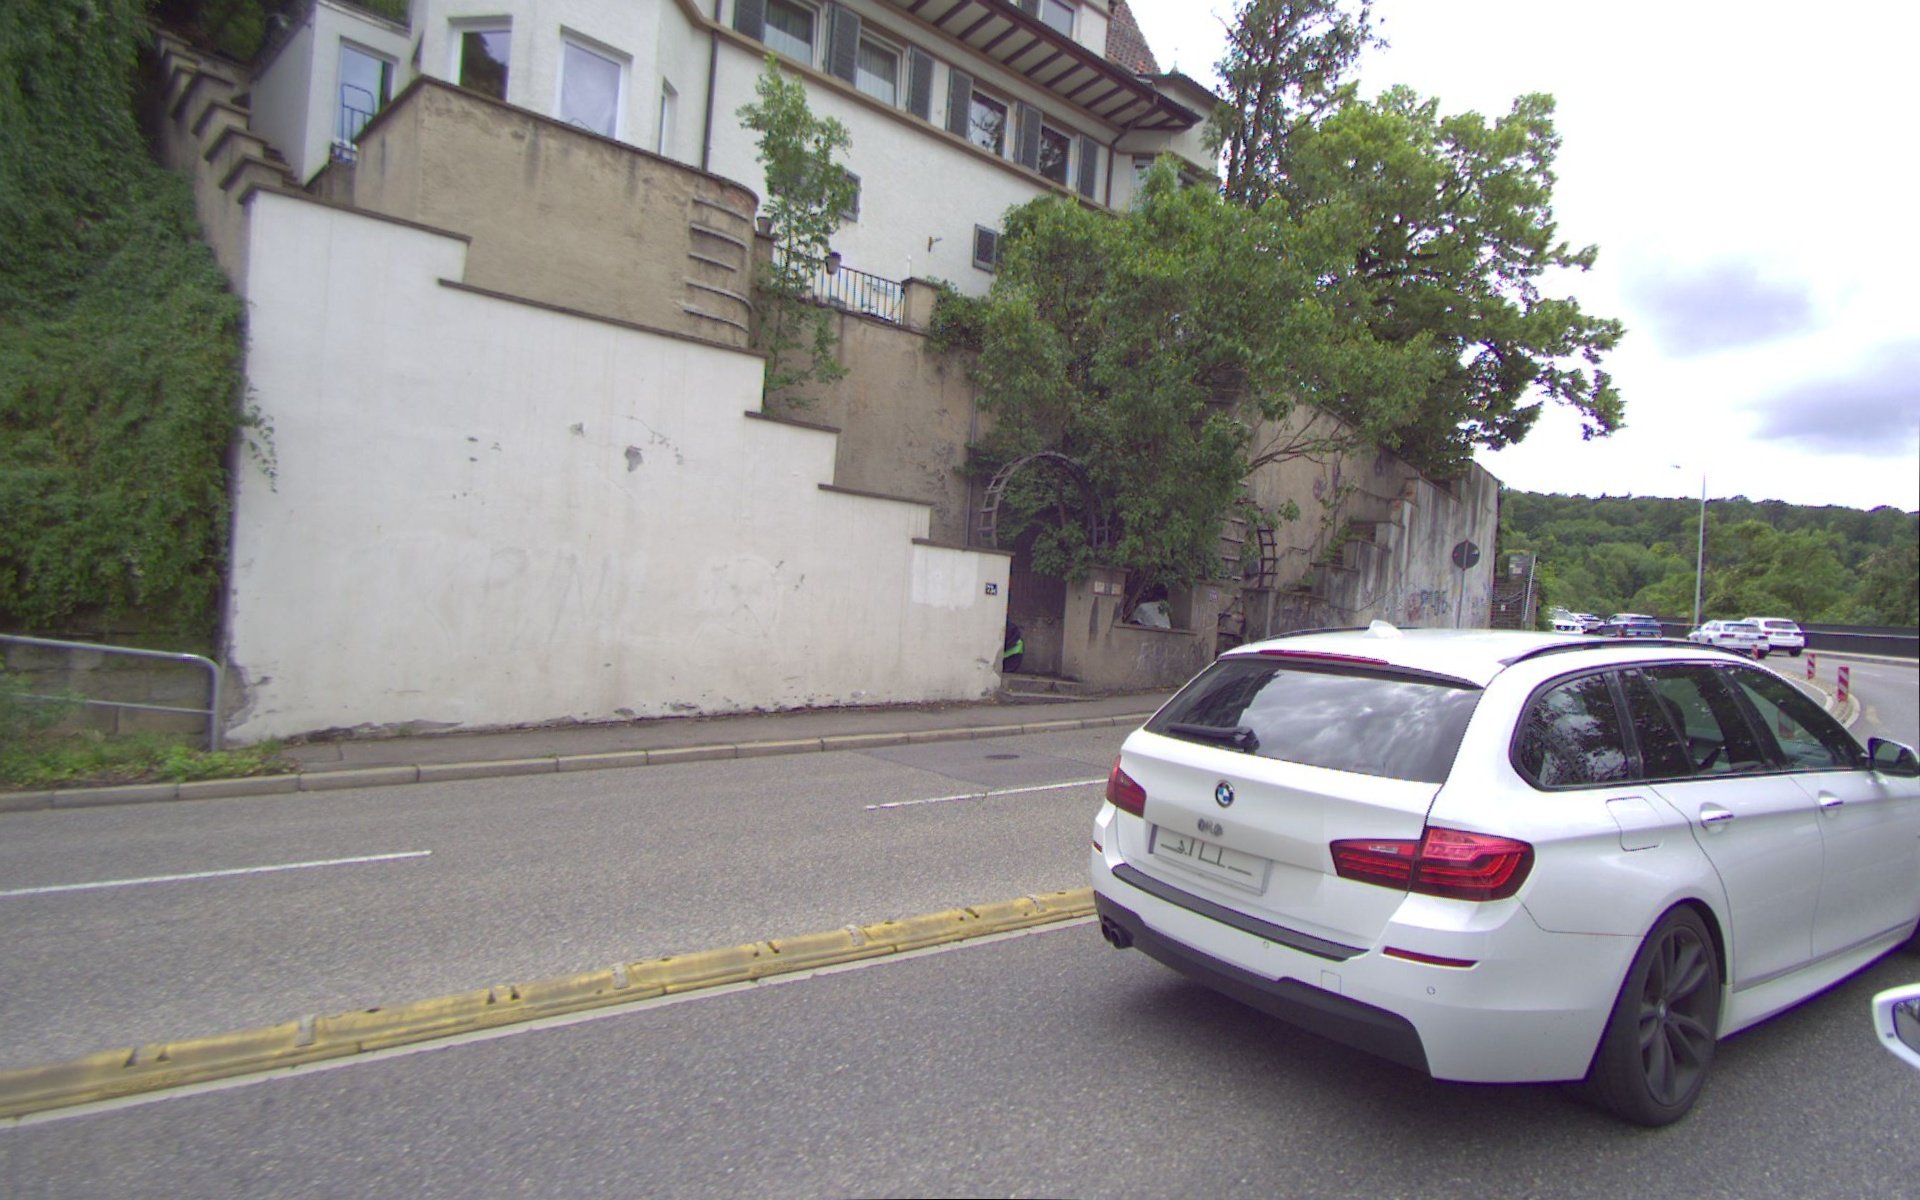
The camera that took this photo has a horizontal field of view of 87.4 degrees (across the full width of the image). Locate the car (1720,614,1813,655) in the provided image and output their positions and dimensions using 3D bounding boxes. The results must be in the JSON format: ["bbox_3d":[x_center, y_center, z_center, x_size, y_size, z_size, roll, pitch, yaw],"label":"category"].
[{"bbox_3d":[36.318,1.518,45.356,1.961,1.607,3.999,3,1,20],"label":"car"}]

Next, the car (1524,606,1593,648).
[{"bbox_3d":[28.269,1.221,47.629,1.879,1.853,5.306,1,0,21],"label":"car"}]

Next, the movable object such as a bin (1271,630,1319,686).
[{"bbox_3d":[6.221,1.068,18.652,0.552,0.962,0.601,1,2,-43],"label":"movable object such as a bin"}]

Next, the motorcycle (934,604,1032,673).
[{"bbox_3d":[0.386,0.645,17.164,1.573,1.044,0.528,4,-1,33],"label":"motorcycle"}]

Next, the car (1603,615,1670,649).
[{"bbox_3d":[35.731,1.647,53.135,1.961,1.561,4.009,3,1,20],"label":"car"}]

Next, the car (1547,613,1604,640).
[{"bbox_3d":[40.192,1.695,65.673,1.665,1.546,3.537,3,1,5],"label":"car"}]

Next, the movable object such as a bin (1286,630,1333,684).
[{"bbox_3d":[6.623,1.079,19.049,0.576,0.962,0.601,1,2,-43],"label":"movable object such as a bin"}]

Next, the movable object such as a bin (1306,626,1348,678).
[{"bbox_3d":[7.163,1.008,19.605,0.563,0.962,0.537,1,2,-43],"label":"movable object such as a bin"}]

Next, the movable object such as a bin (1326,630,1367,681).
[{"bbox_3d":[7.681,1.090,19.971,0.563,0.962,0.537,1,2,-43],"label":"movable object such as a bin"}]

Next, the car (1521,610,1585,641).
[{"bbox_3d":[37.557,1.599,63.720,1.785,1.712,4.001,3,1,3],"label":"car"}]

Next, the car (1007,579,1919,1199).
[{"bbox_3d":[2.718,0.767,4.419,4.826,1.486,1.837,2,2,-33],"label":"car"}]

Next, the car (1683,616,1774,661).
[{"bbox_3d":[31.722,1.533,41.596,1.875,1.595,3.999,3,1,21],"label":"car"}]
